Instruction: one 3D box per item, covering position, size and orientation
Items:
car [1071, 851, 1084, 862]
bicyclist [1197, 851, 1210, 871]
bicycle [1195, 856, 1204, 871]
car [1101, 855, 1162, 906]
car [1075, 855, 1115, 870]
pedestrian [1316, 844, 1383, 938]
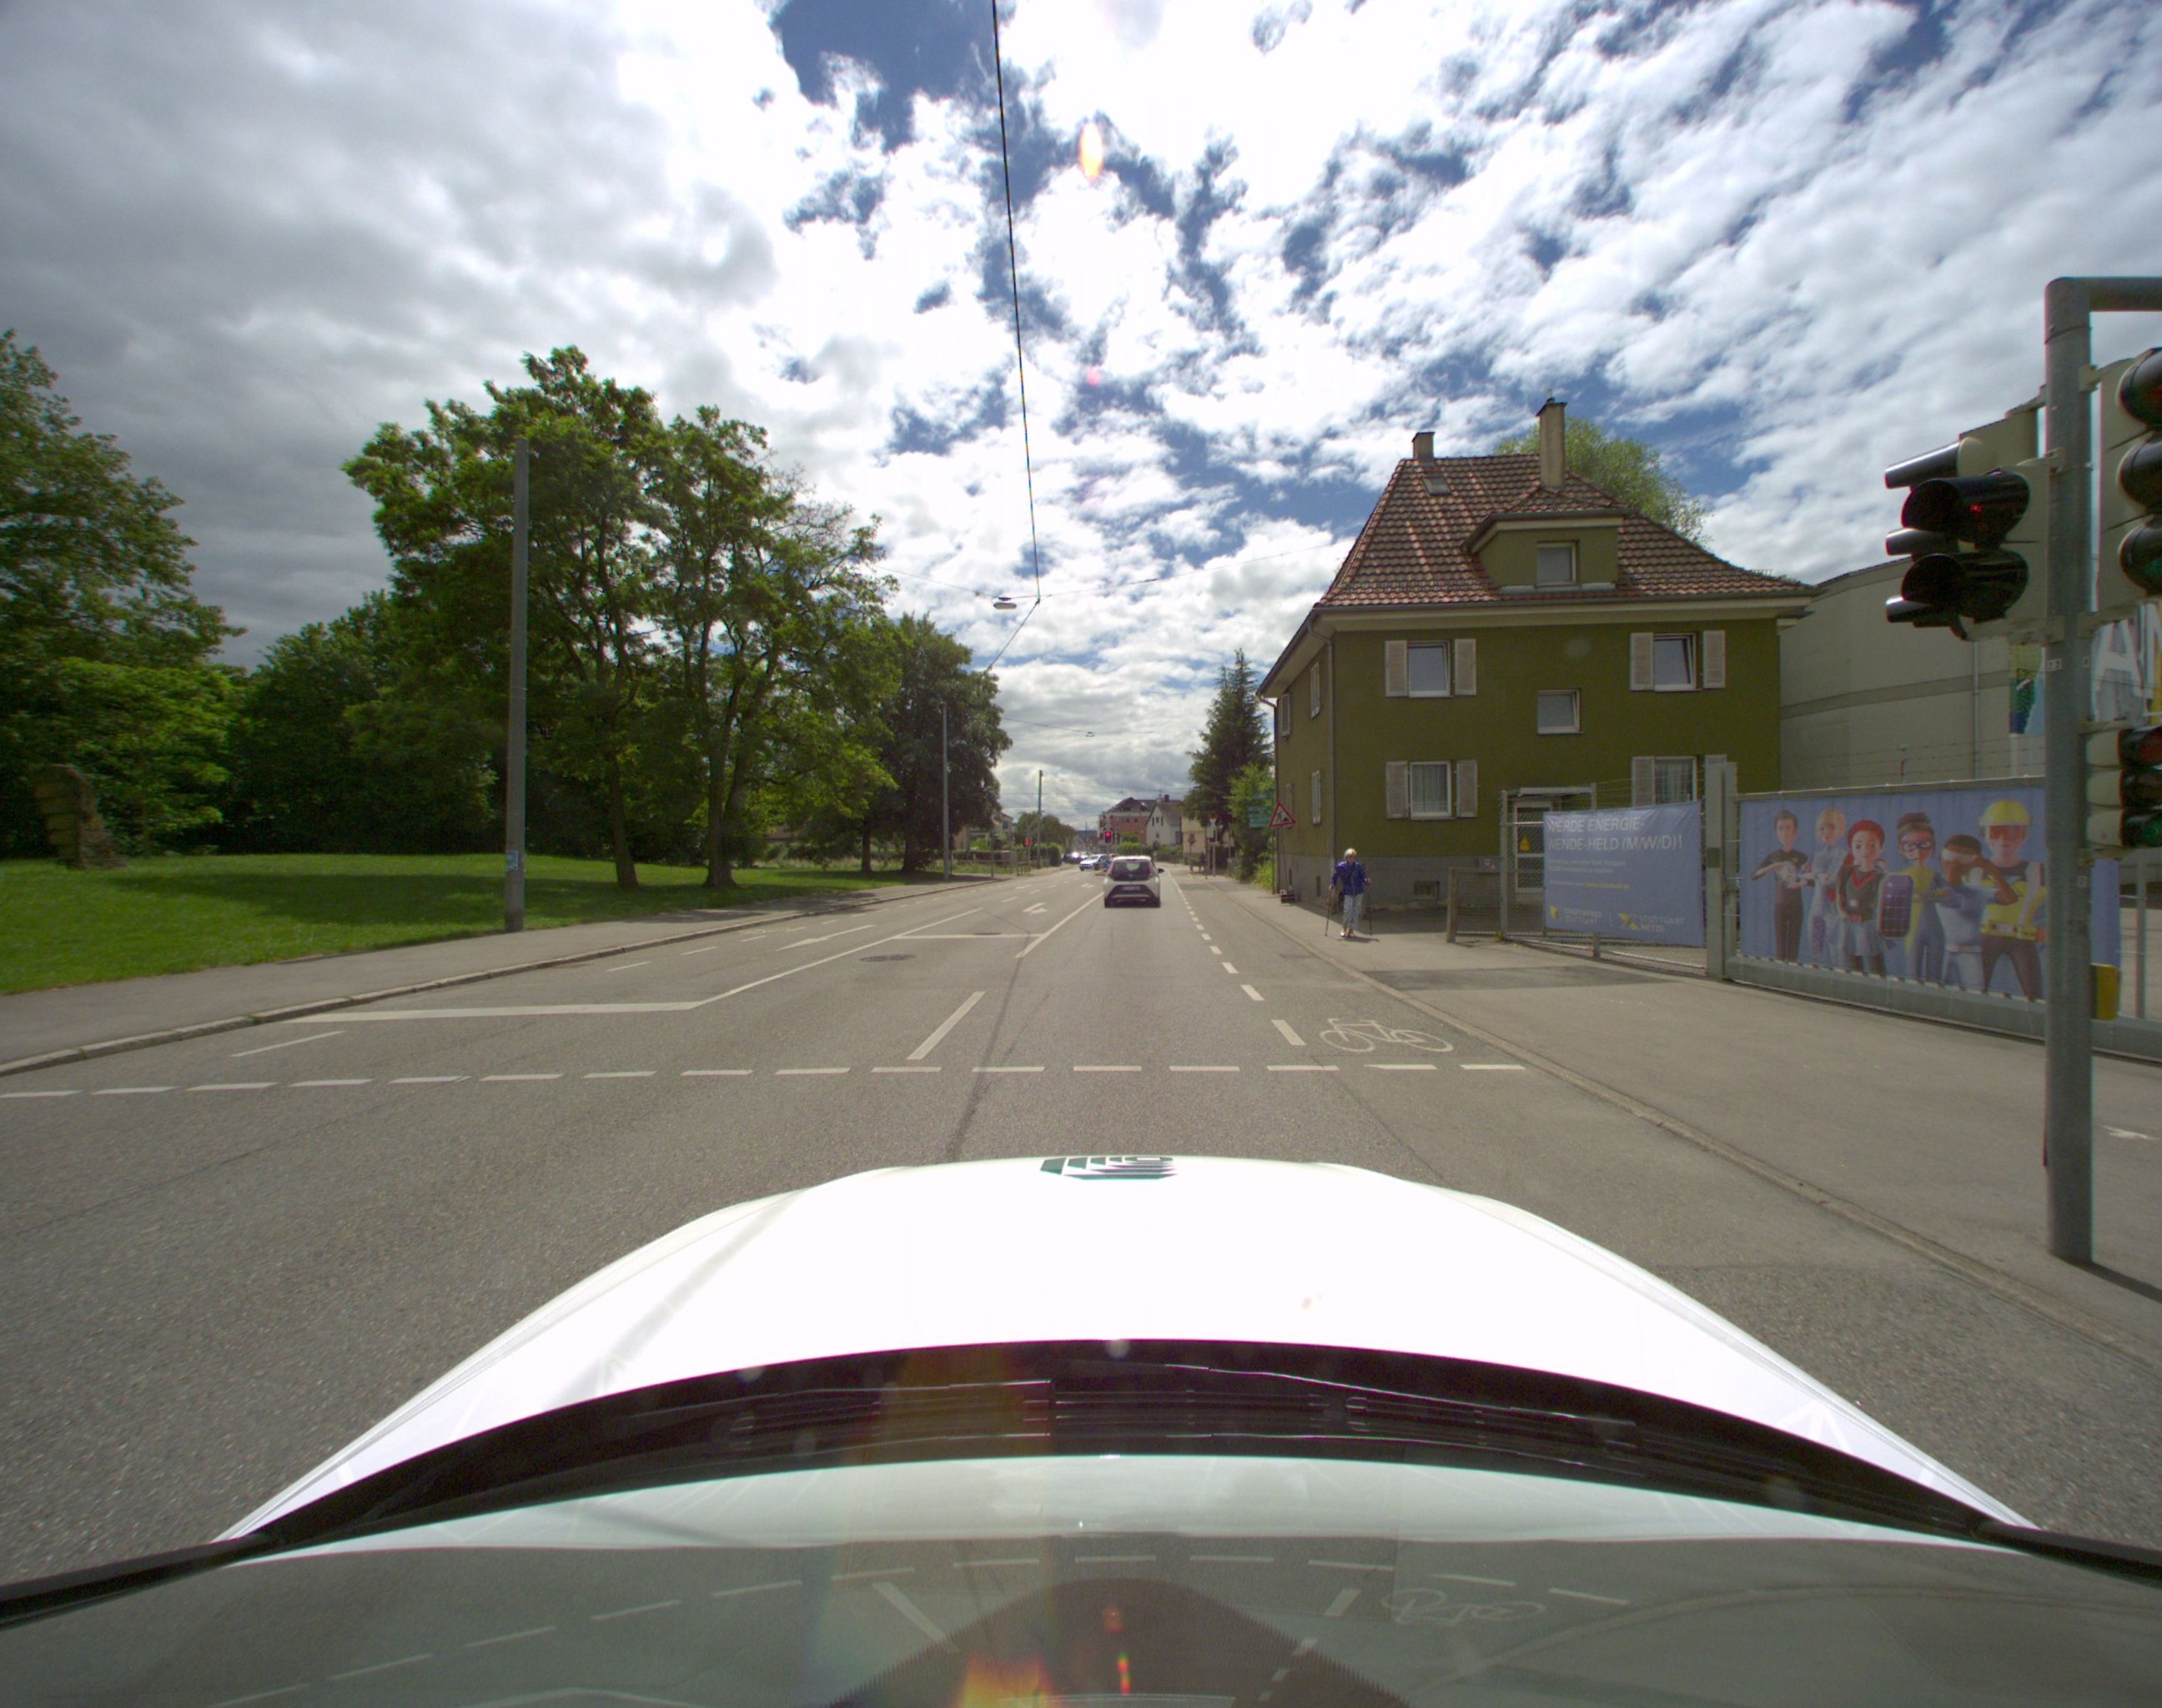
[{"bbox_3d":[-0.582,0.447,128.007,1.987,1.719,3.998,0,0,-1],"label":"car"},{"bbox_3d":[10.129,0.550,67.415,0.838,1.553,0.756,-3,2,-1],"label":"bicyclist"},{"bbox_3d":[9.844,0.757,67.417,0.456,1.172,1.479,-3,2,0],"label":"bicycle"},{"bbox_3d":[1.598,0.752,24.867,1.713,1.442,3.713,0,0,5],"label":"car"},{"bbox_3d":[1.339,0.788,76.533,1.886,1.441,4.124,0,0,33],"label":"car"},{"bbox_3d":[4.737,0.635,14.423,0.821,1.572,0.988,-2,0,0],"label":"pedestrian"}]
